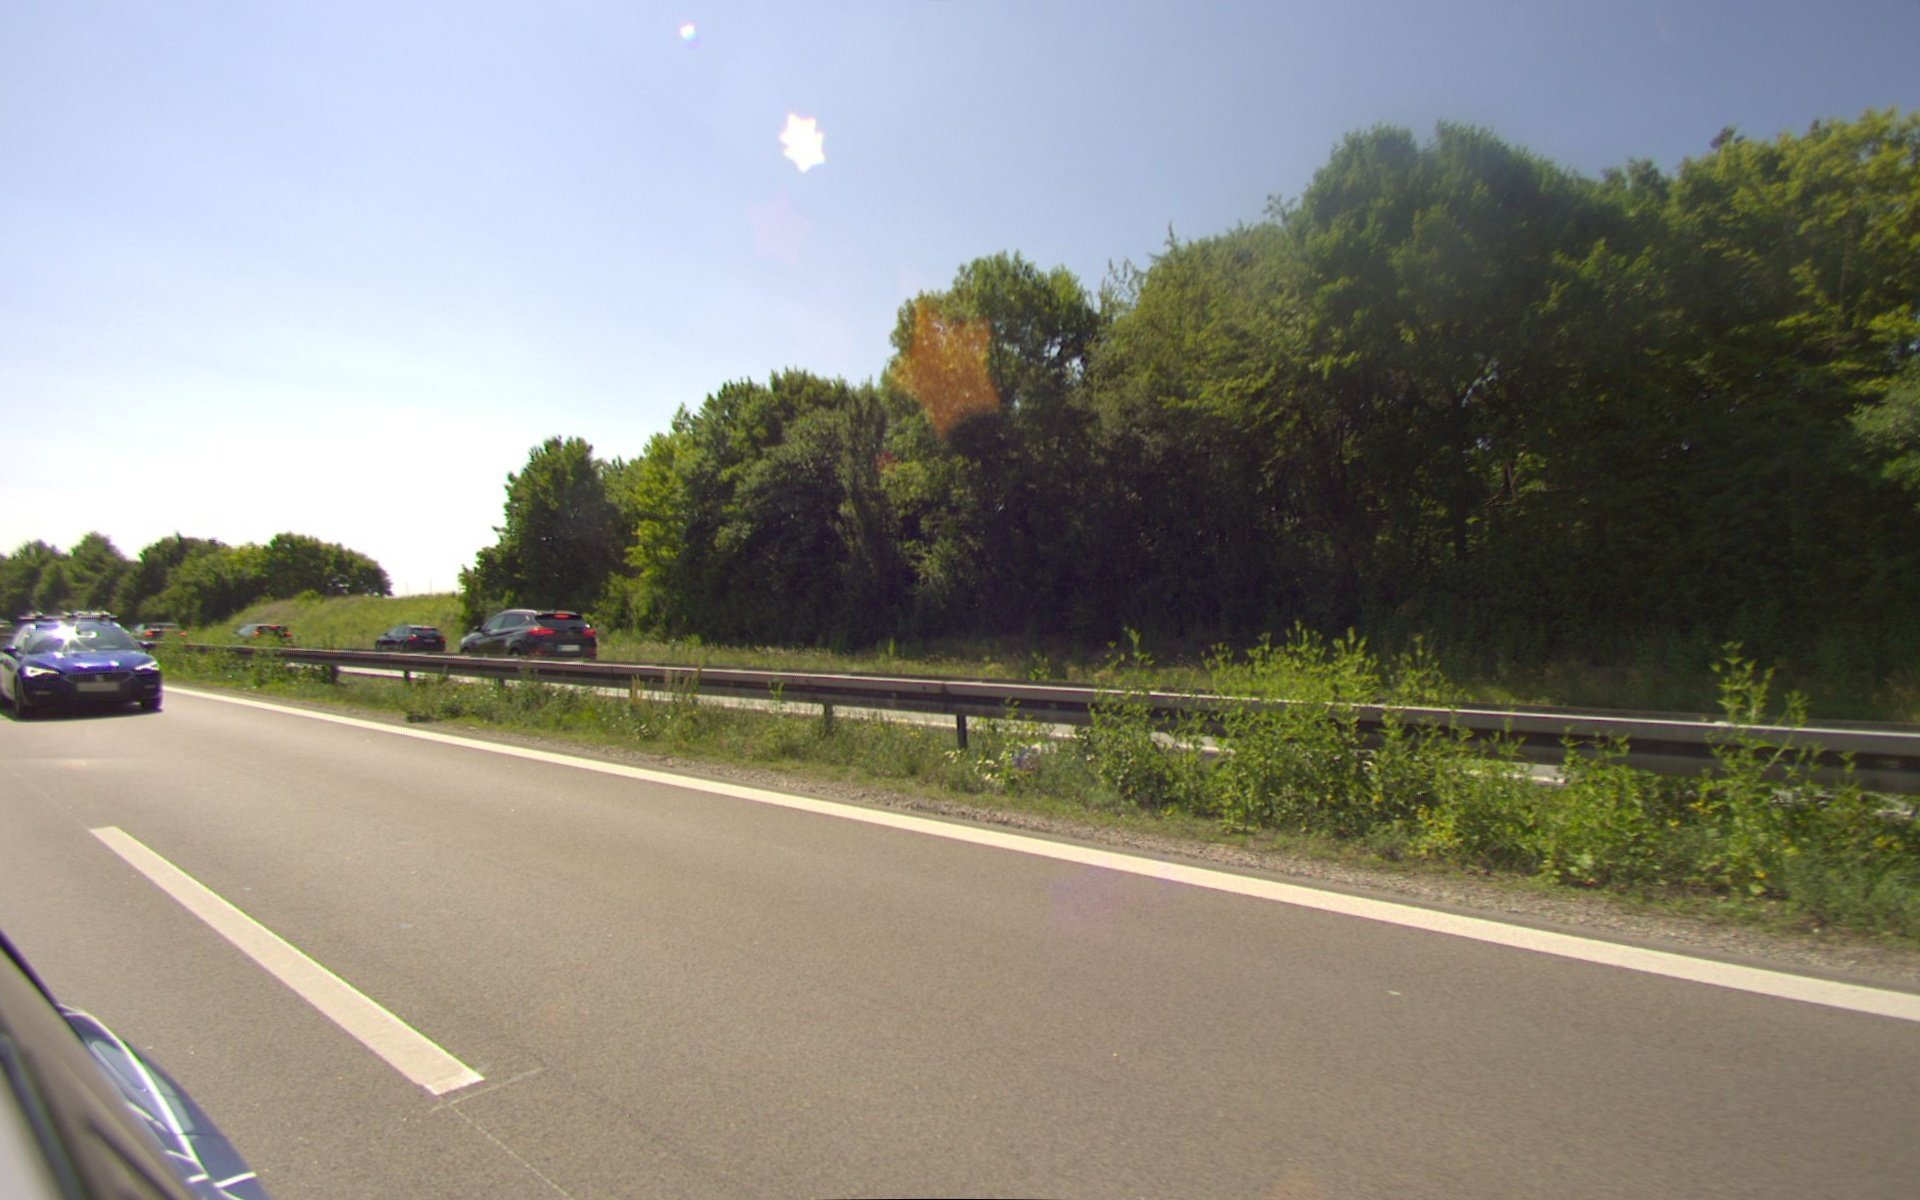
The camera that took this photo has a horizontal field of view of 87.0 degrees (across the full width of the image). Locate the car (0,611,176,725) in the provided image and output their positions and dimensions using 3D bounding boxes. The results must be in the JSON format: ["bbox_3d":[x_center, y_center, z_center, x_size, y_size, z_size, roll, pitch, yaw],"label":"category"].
[{"bbox_3d":[-14.661,1.028,16.766,4.238,1.638,1.880,-2,-1,41],"label":"car"}]

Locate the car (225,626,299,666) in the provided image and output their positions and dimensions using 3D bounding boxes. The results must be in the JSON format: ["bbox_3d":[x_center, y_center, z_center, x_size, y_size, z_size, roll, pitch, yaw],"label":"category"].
[{"bbox_3d":[-35.197,2.255,50.985,4.694,1.818,1.973,0,-1,41],"label":"car"}]

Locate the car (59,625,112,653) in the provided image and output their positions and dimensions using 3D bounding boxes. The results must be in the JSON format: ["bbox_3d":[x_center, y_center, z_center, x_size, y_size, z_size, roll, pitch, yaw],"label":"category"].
[{"bbox_3d":[-54.554,2.427,63.116,4.420,1.586,1.831,0,-1,41],"label":"car"}]

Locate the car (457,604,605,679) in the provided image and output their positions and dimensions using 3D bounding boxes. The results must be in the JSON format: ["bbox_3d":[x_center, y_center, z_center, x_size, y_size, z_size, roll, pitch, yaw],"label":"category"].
[{"bbox_3d":[-10.534,0.988,24.730,4.128,1.679,1.777,-2,-2,43],"label":"car"}]

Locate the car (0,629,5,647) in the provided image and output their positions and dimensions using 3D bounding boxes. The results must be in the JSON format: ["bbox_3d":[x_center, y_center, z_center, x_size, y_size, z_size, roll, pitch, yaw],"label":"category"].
[{"bbox_3d":[-84.439,3.286,87.721,4.613,1.528,1.892,-2,-2,40],"label":"car"}]

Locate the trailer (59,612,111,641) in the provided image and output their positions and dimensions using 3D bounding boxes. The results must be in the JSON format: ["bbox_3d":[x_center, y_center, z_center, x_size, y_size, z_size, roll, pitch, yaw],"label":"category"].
[{"bbox_3d":[-86.293,2.621,99.744,8.625,2.708,2.703,-1,-2,41],"label":"trailer"}]

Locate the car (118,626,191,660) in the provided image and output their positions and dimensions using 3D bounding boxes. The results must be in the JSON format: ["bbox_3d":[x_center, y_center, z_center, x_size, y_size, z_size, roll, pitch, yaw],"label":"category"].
[{"bbox_3d":[-40.402,2.120,50.716,5.087,1.617,1.973,-1,-2,41],"label":"car"}]

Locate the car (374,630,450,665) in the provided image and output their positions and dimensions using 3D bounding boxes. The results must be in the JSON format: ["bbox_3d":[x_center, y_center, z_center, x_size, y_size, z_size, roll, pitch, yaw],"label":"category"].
[{"bbox_3d":[-25.503,2.185,47.039,4.128,1.566,1.777,-2,-4,43],"label":"car"}]

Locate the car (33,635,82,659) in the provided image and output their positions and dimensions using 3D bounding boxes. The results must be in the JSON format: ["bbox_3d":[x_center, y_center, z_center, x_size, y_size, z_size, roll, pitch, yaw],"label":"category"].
[{"bbox_3d":[-61.499,3.159,68.933,4.613,1.528,1.892,-2,-2,40],"label":"car"}]
